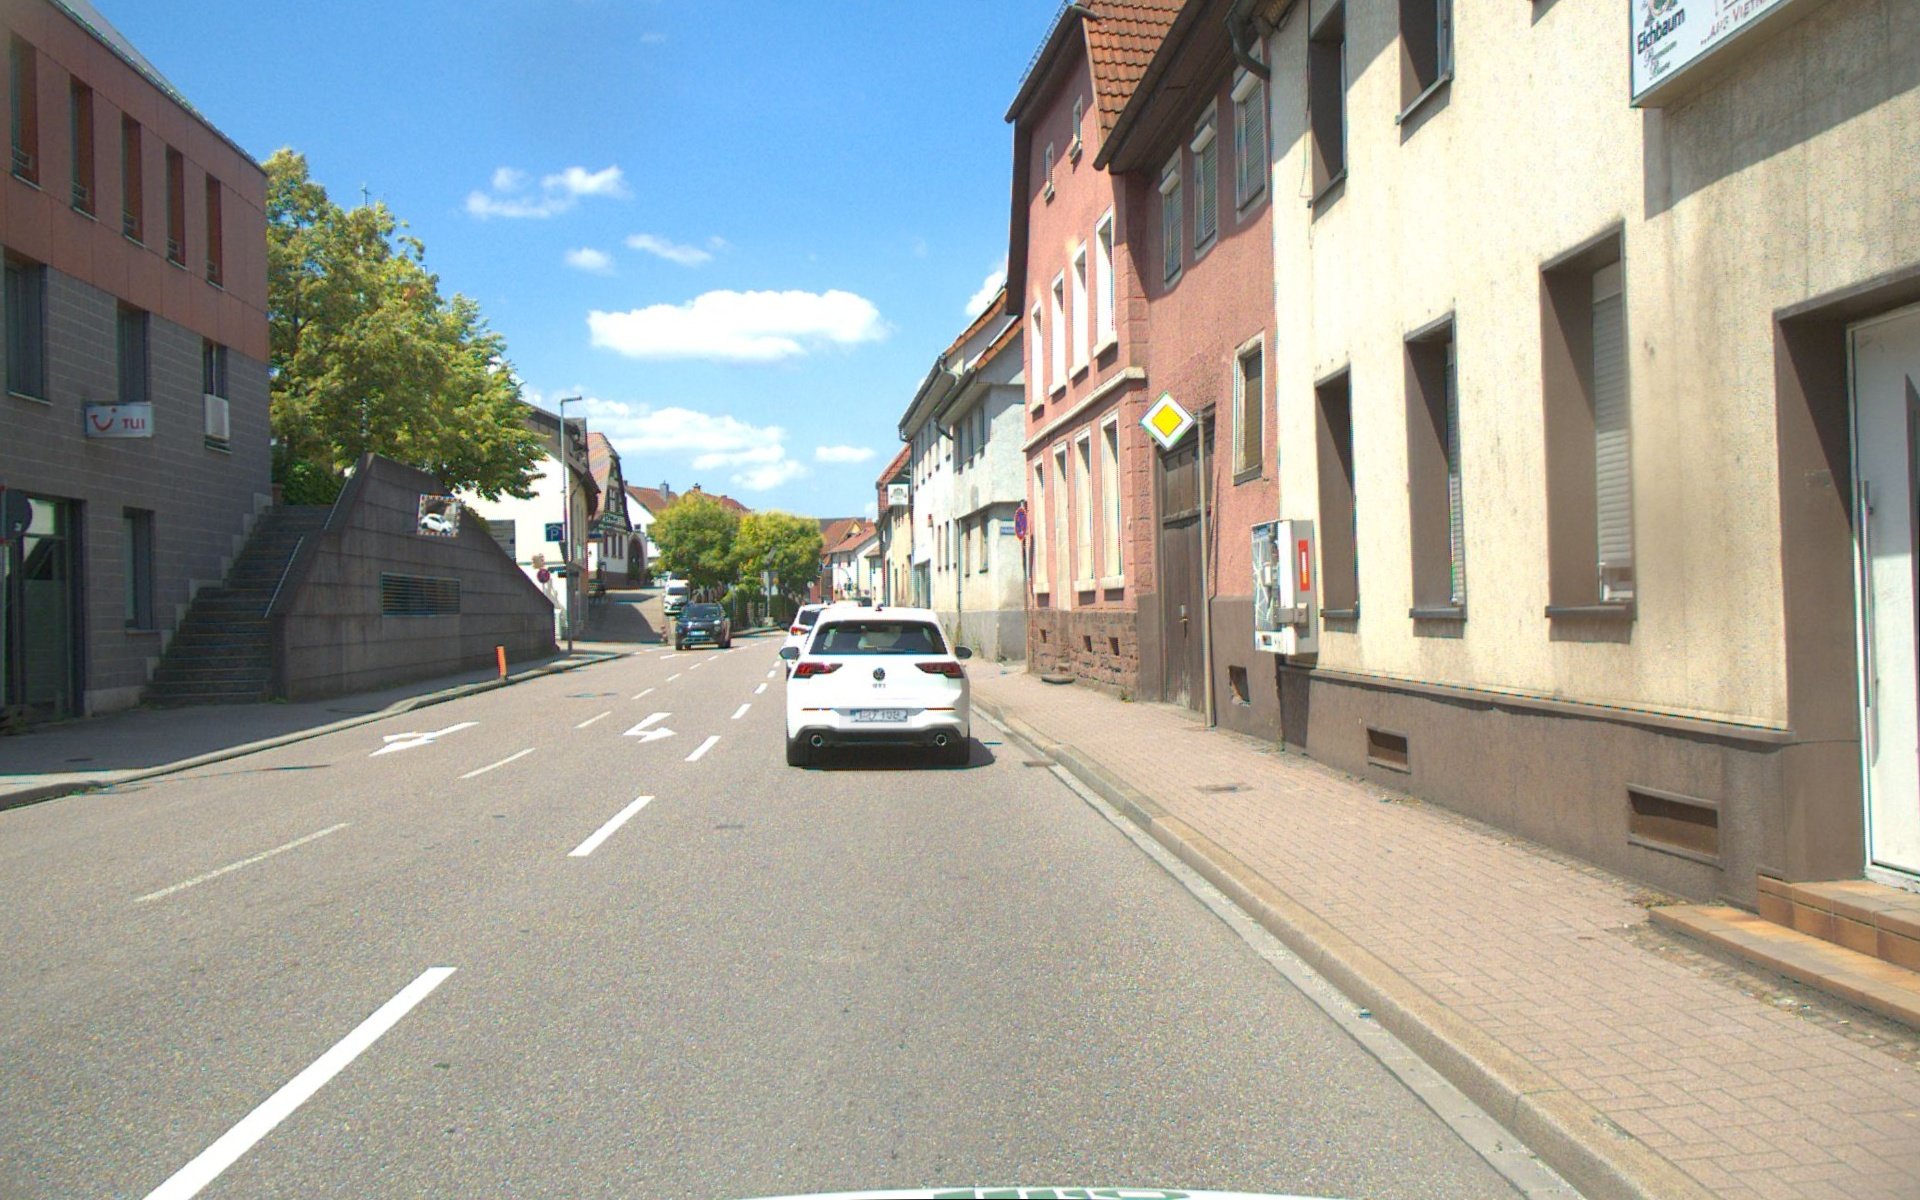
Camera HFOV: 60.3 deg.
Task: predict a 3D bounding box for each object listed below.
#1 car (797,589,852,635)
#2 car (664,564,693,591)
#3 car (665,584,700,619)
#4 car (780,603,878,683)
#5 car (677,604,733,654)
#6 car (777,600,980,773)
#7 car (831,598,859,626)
[{"bbox_3d":[-4.592,0.412,55.583,1.773,1.493,3.995,1,-1,-6],"label":"car"},{"bbox_3d":[-17.837,-1.421,105.043,1.546,1.385,3.853,0,5,-6],"label":"car"},{"bbox_3d":[-15.523,0.080,92.696,1.661,1.569,3.853,0,5,-6],"label":"car"},{"bbox_3d":[-2.670,0.831,33.072,1.773,1.493,3.993,1,-1,-7],"label":"car"},{"bbox_3d":[-9.052,0.995,58.907,1.637,1.686,4.014,-1,0,-4],"label":"car"},{"bbox_3d":[-0.742,0.789,16.591,1.771,1.493,3.999,1,-1,-1],"label":"car"},{"bbox_3d":[-7.557,0.766,108.887,1.740,1.796,3.997,-1,0,-4],"label":"car"}]
